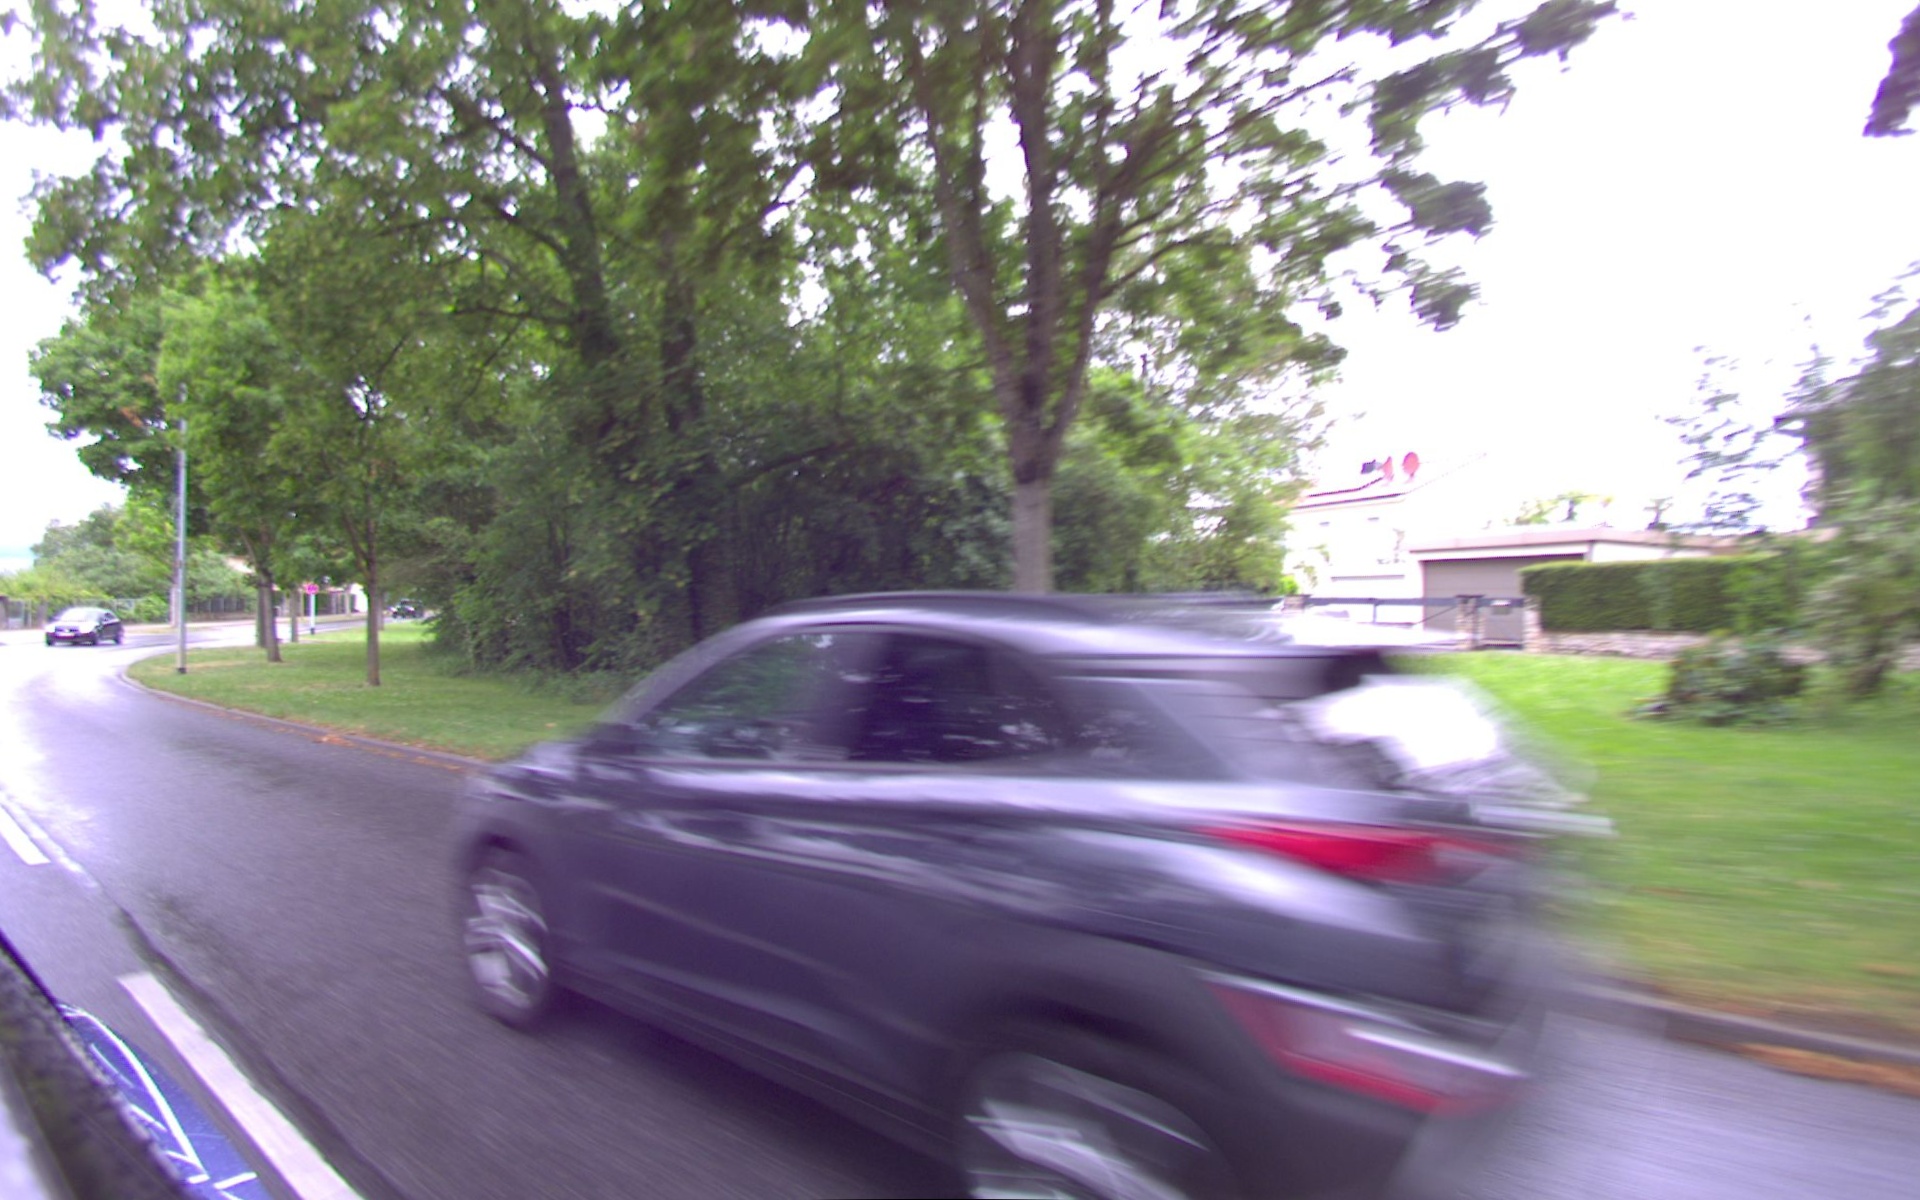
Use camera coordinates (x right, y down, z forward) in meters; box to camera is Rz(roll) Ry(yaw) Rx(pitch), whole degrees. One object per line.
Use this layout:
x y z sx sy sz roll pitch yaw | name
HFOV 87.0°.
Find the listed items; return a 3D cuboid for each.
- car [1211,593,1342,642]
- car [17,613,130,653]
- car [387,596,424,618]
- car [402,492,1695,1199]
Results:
9.957 0.520 31.907 3.538 1.386 1.803 -2 1 -20 | car
-36.701 1.323 42.038 1.898 1.393 4.321 -2 1 -17 | car
-49.873 0.616 91.089 1.966 1.872 4.011 -2 1 -15 | car
-0.128 0.671 3.423 4.089 1.549 1.771 -2 -1 41 | car
